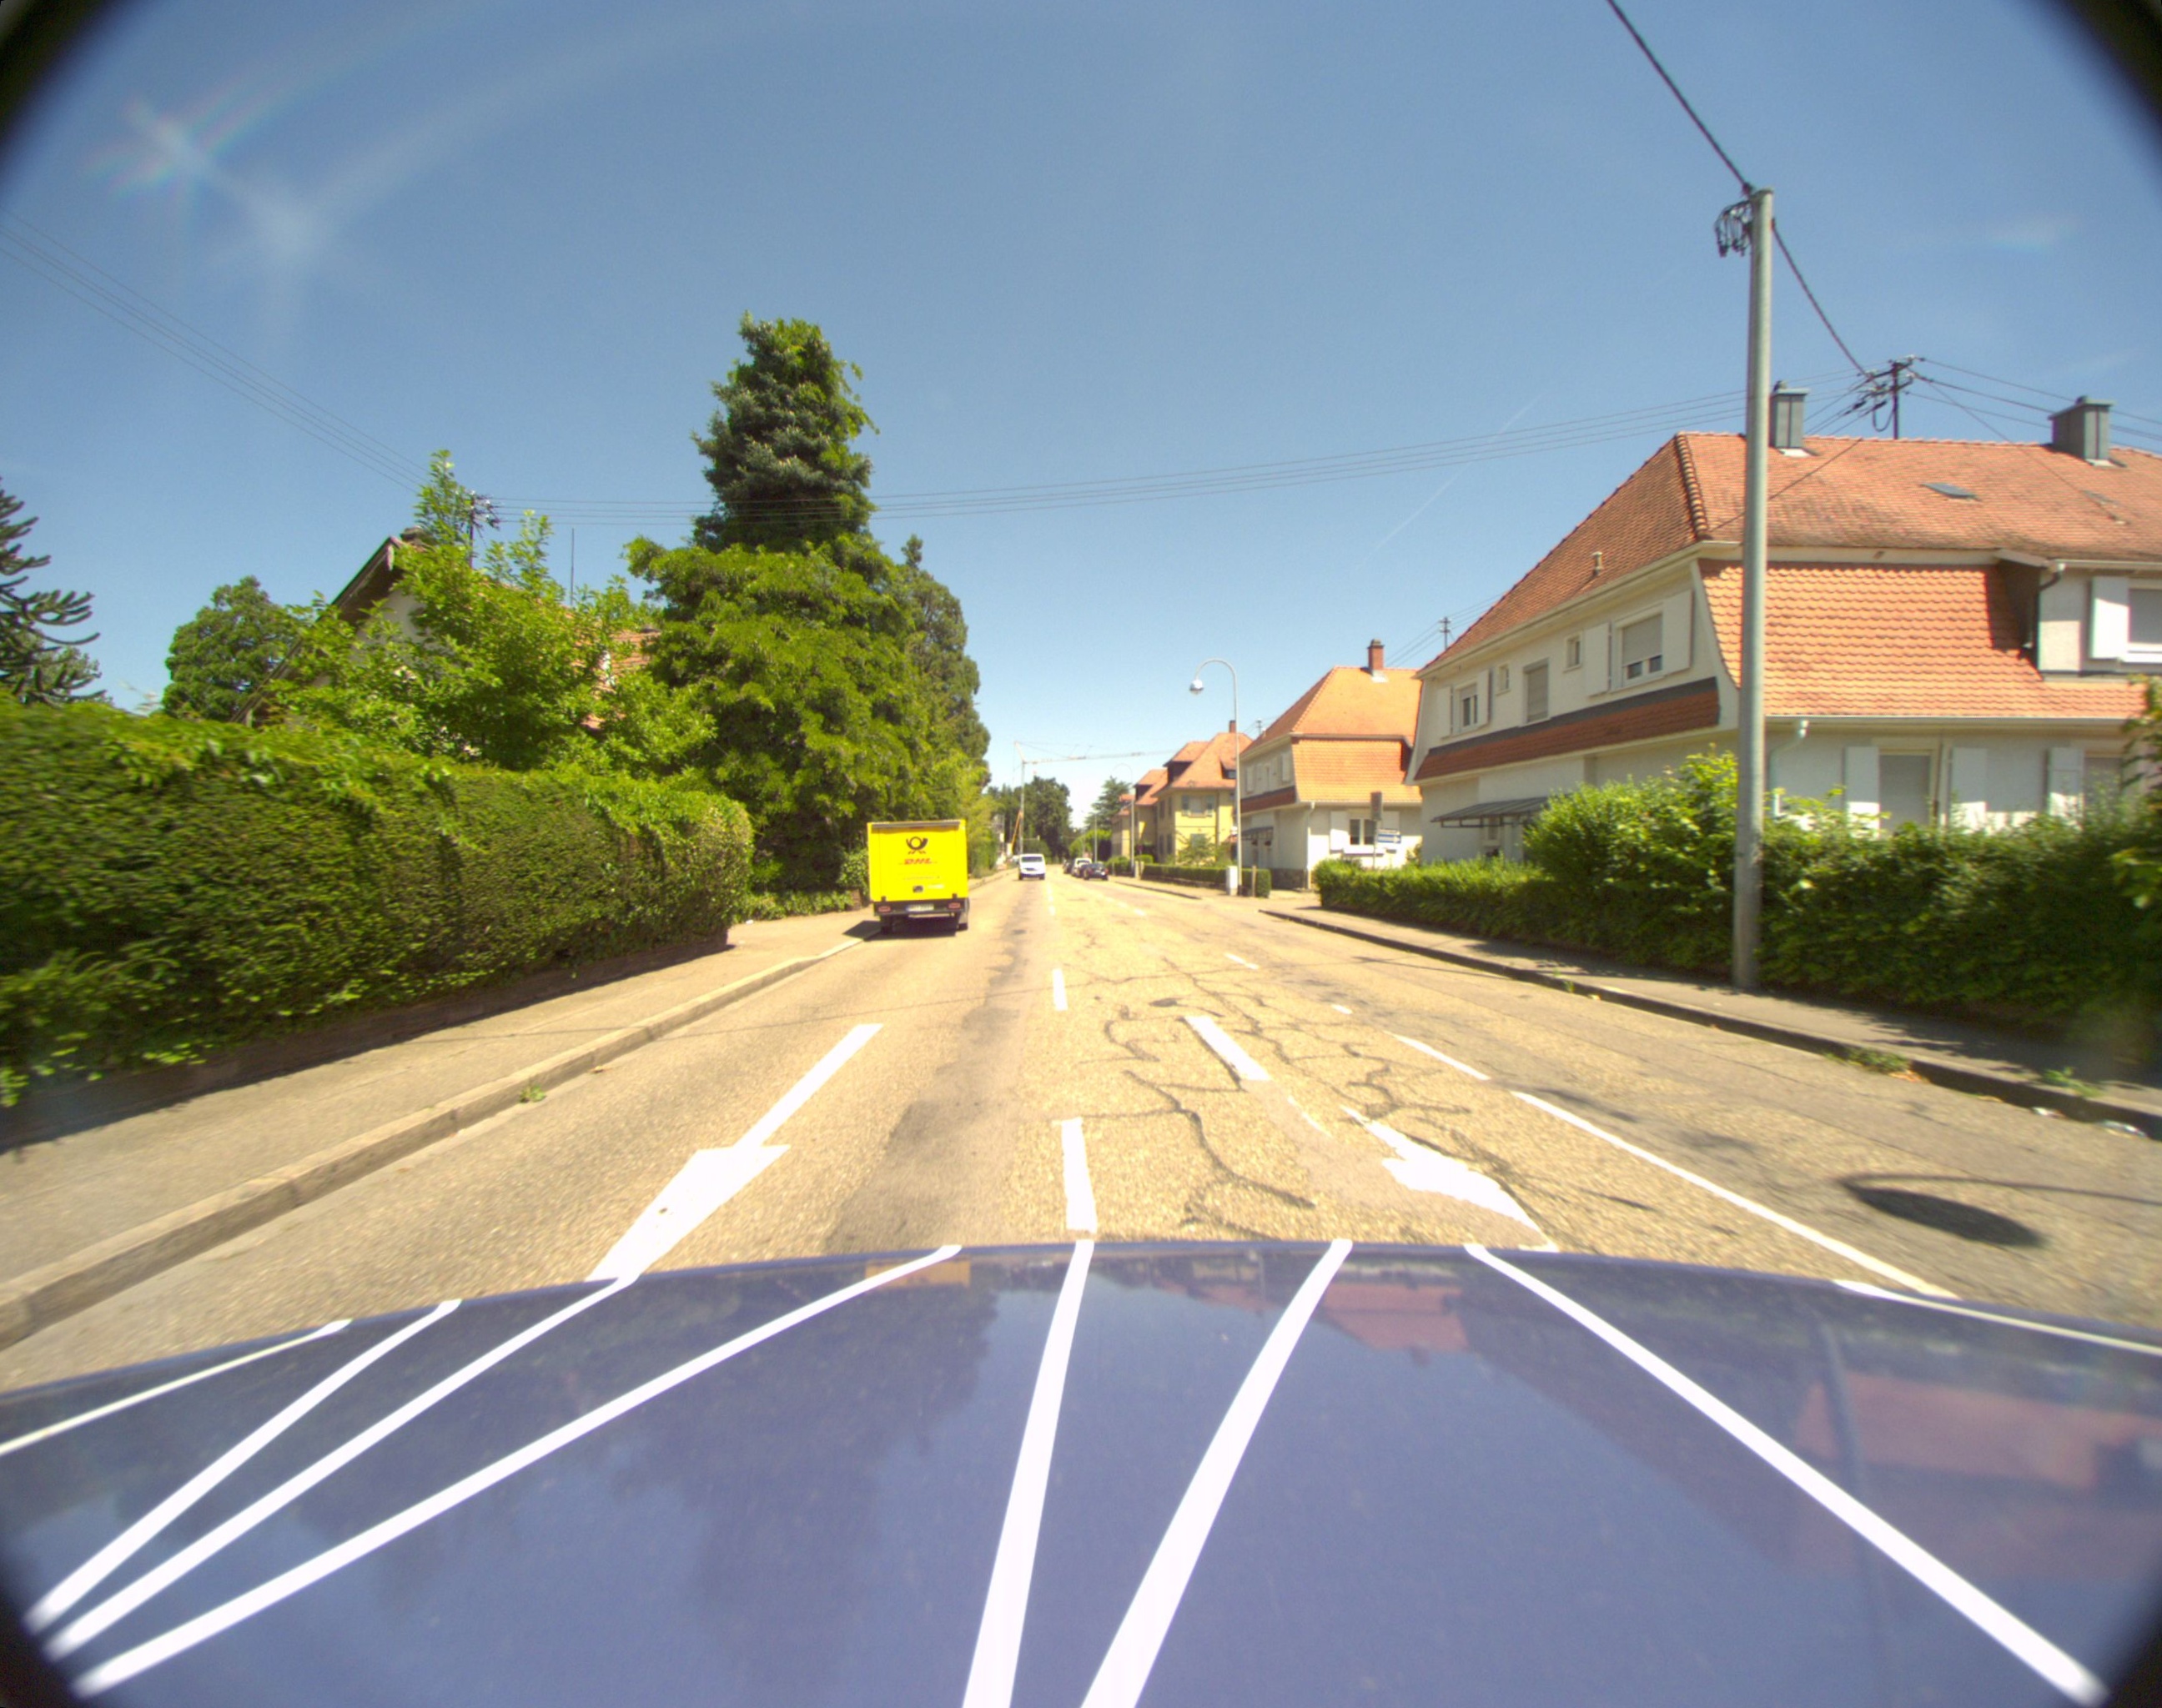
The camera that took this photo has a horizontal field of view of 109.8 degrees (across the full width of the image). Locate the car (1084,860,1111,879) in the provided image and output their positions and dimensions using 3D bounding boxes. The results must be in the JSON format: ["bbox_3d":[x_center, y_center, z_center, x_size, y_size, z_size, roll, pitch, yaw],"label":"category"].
[{"bbox_3d":[1.262,1.205,60.256,1.754,1.390,3.999,2,0,-3],"label":"car"}]

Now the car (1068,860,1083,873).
[{"bbox_3d":[-0.703,1.661,100.249,1.998,1.674,4.000,-1,0,0],"label":"car"}]

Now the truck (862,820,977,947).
[{"bbox_3d":[-3.497,0.564,17.431,2.020,2.295,6.171,-3,0,-8],"label":"truck"}]

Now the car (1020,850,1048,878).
[{"bbox_3d":[-3.519,0.744,57.983,1.999,2.002,4.385,-1,0,-2],"label":"car"}]

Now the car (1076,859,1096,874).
[{"bbox_3d":[0.465,1.193,74.993,1.754,1.427,3.999,1,-1,-2],"label":"car"}]

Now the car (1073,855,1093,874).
[{"bbox_3d":[0.176,1.136,79.685,1.754,1.885,3.999,1,-1,-3],"label":"car"}]

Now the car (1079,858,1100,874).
[{"bbox_3d":[0.763,1.080,69.509,1.754,1.389,4.000,1,-1,-1],"label":"car"}]
